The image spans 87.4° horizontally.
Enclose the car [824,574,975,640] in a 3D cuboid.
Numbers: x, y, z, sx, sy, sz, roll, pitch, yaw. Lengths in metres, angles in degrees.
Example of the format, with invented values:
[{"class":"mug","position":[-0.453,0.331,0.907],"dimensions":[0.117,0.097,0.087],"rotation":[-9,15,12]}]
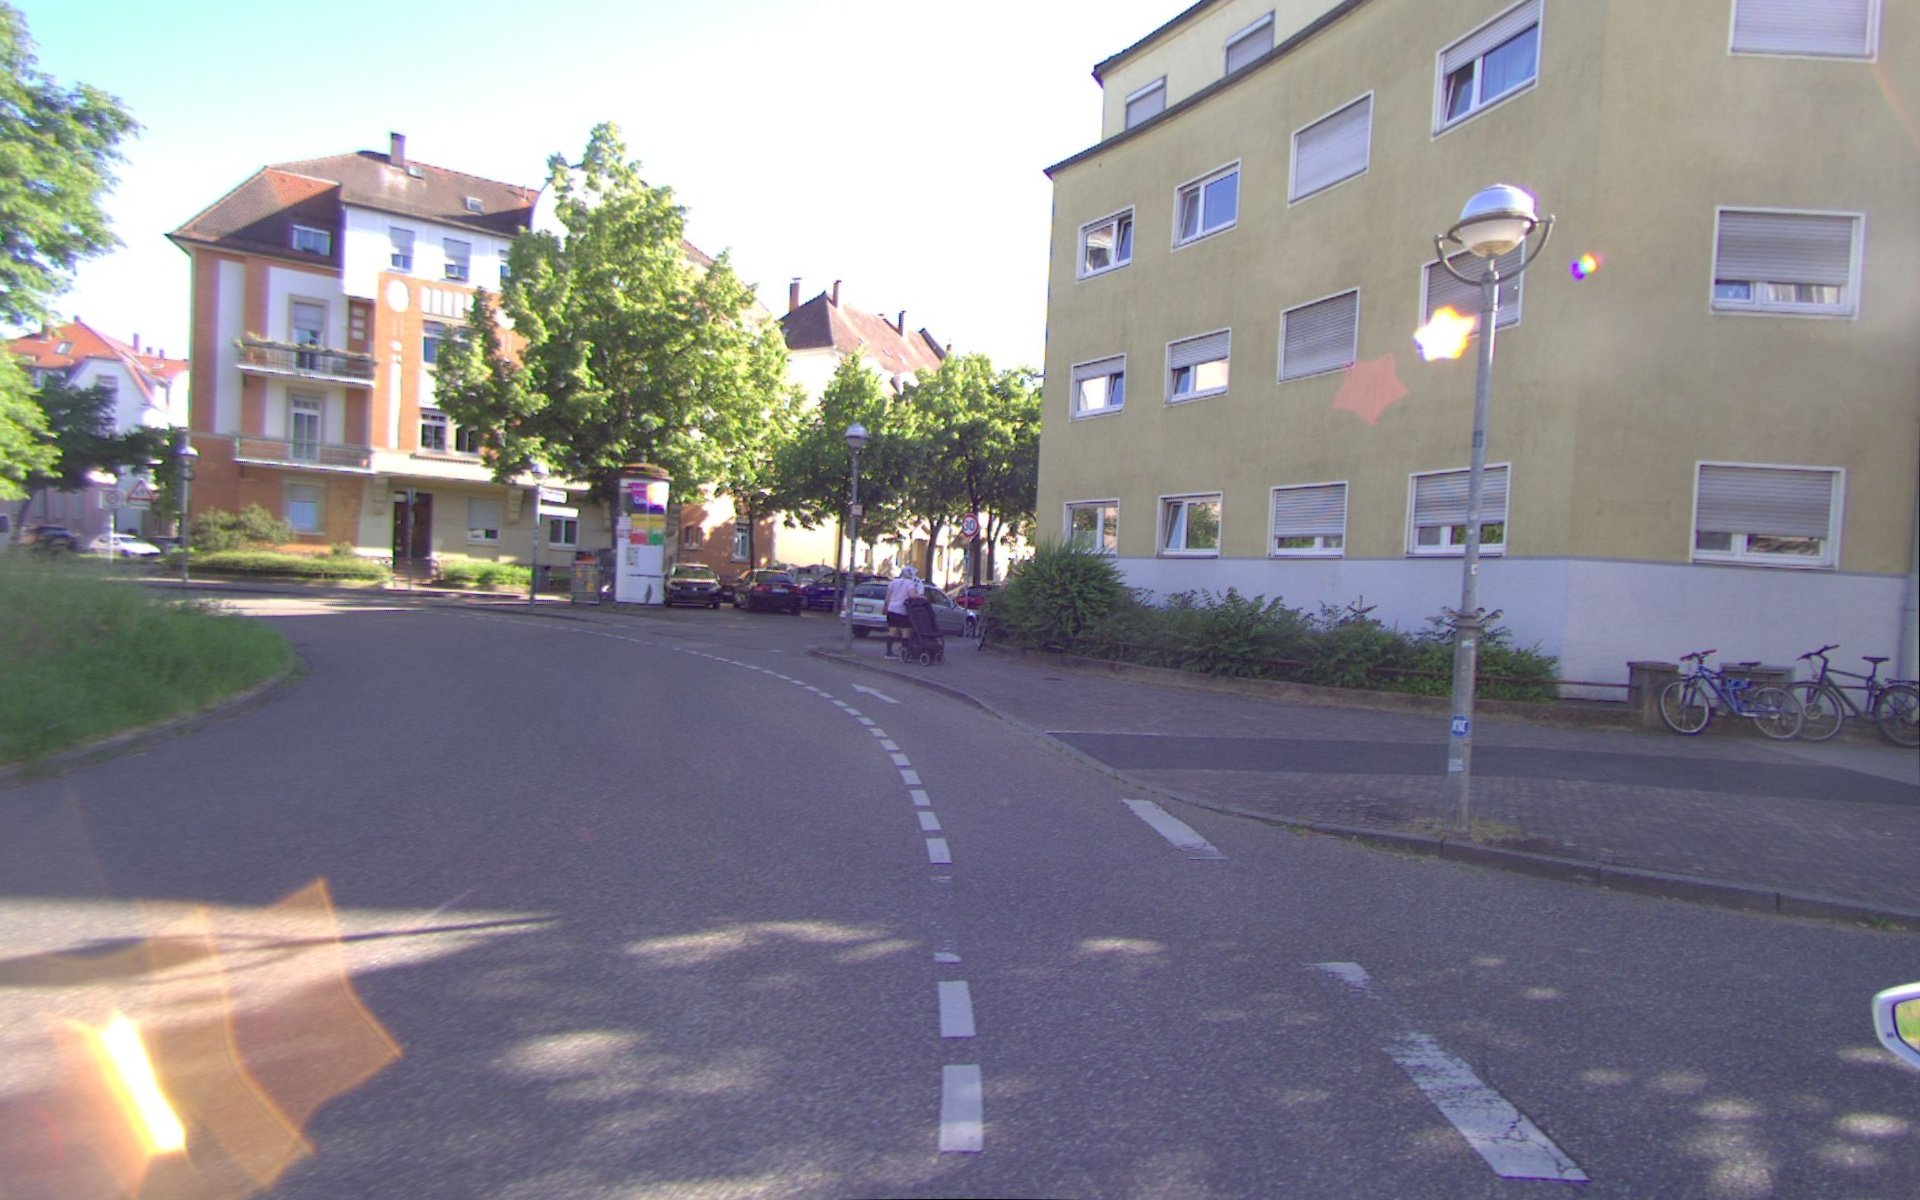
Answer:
[{"class":"car","position":[-1.441,0.177,25.495],"dimensions":[1.863,1.463,3.992],"rotation":[4,1,30]}]

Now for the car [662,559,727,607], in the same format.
[{"class":"car","position":[-9.000,-0.597,33.967],"dimensions":[1.967,1.417,3.986],"rotation":[3,1,-16]}]

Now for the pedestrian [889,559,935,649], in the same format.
[{"class":"pedestrian","position":[-0.898,0.074,19.023],"dimensions":[0.732,1.637,0.758],"rotation":[3,1,1]}]

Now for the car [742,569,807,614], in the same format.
[{"class":"car","position":[-6.262,-0.323,33.608],"dimensions":[1.681,1.302,4.242],"rotation":[3,1,-16]}]

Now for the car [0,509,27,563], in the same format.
[{"class":"car","position":[-38.614,-2.576,38.790],"dimensions":[3.920,2.040,2.001],"rotation":[3,1,16]}]

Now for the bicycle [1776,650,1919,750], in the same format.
[{"class":"bicycle","position":[10.243,1.128,11.385],"dimensions":[1.514,1.014,0.476],"rotation":[3,1,2]}]

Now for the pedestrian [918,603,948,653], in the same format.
[{"class":"pedestrian","position":[-0.494,0.509,18.453],"dimensions":[0.446,0.887,0.431],"rotation":[3,1,9]}]

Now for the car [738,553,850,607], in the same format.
[{"class":"car","position":[-6.603,-0.800,40.028],"dimensions":[3.926,1.906,1.997],"rotation":[4,1,27]}]

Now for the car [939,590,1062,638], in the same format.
[{"class":"car","position":[1.285,0.410,29.963],"dimensions":[1.965,1.228,3.991],"rotation":[4,1,31]}]

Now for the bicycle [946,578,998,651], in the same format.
[{"class":"bicycle","position":[0.278,0.265,20.695],"dimensions":[0.740,1.370,2.436],"rotation":[3,1,7]}]

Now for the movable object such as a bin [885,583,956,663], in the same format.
[{"class":"movable object such as a bin","position":[-0.639,0.365,16.065],"dimensions":[0.761,1.212,0.836],"rotation":[2,1,-35]}]

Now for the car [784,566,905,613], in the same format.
[{"class":"car","position":[-4.122,-0.385,35.612],"dimensions":[4.189,1.443,1.703],"rotation":[4,1,37]}]

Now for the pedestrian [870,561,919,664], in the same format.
[{"class":"pedestrian","position":[-1.082,0.201,16.717],"dimensions":[0.652,1.637,0.697],"rotation":[3,1,4]}]

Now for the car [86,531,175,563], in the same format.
[{"class":"car","position":[-46.832,-2.990,56.721],"dimensions":[3.919,1.500,1.745],"rotation":[3,1,11]}]

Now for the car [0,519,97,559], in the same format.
[{"class":"car","position":[-40.727,-2.707,44.448],"dimensions":[3.919,1.500,1.745],"rotation":[3,1,11]}]

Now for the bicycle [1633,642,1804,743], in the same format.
[{"class":"bicycle","position":[8.637,1.043,11.471],"dimensions":[1.514,1.014,0.477],"rotation":[3,1,2]}]
